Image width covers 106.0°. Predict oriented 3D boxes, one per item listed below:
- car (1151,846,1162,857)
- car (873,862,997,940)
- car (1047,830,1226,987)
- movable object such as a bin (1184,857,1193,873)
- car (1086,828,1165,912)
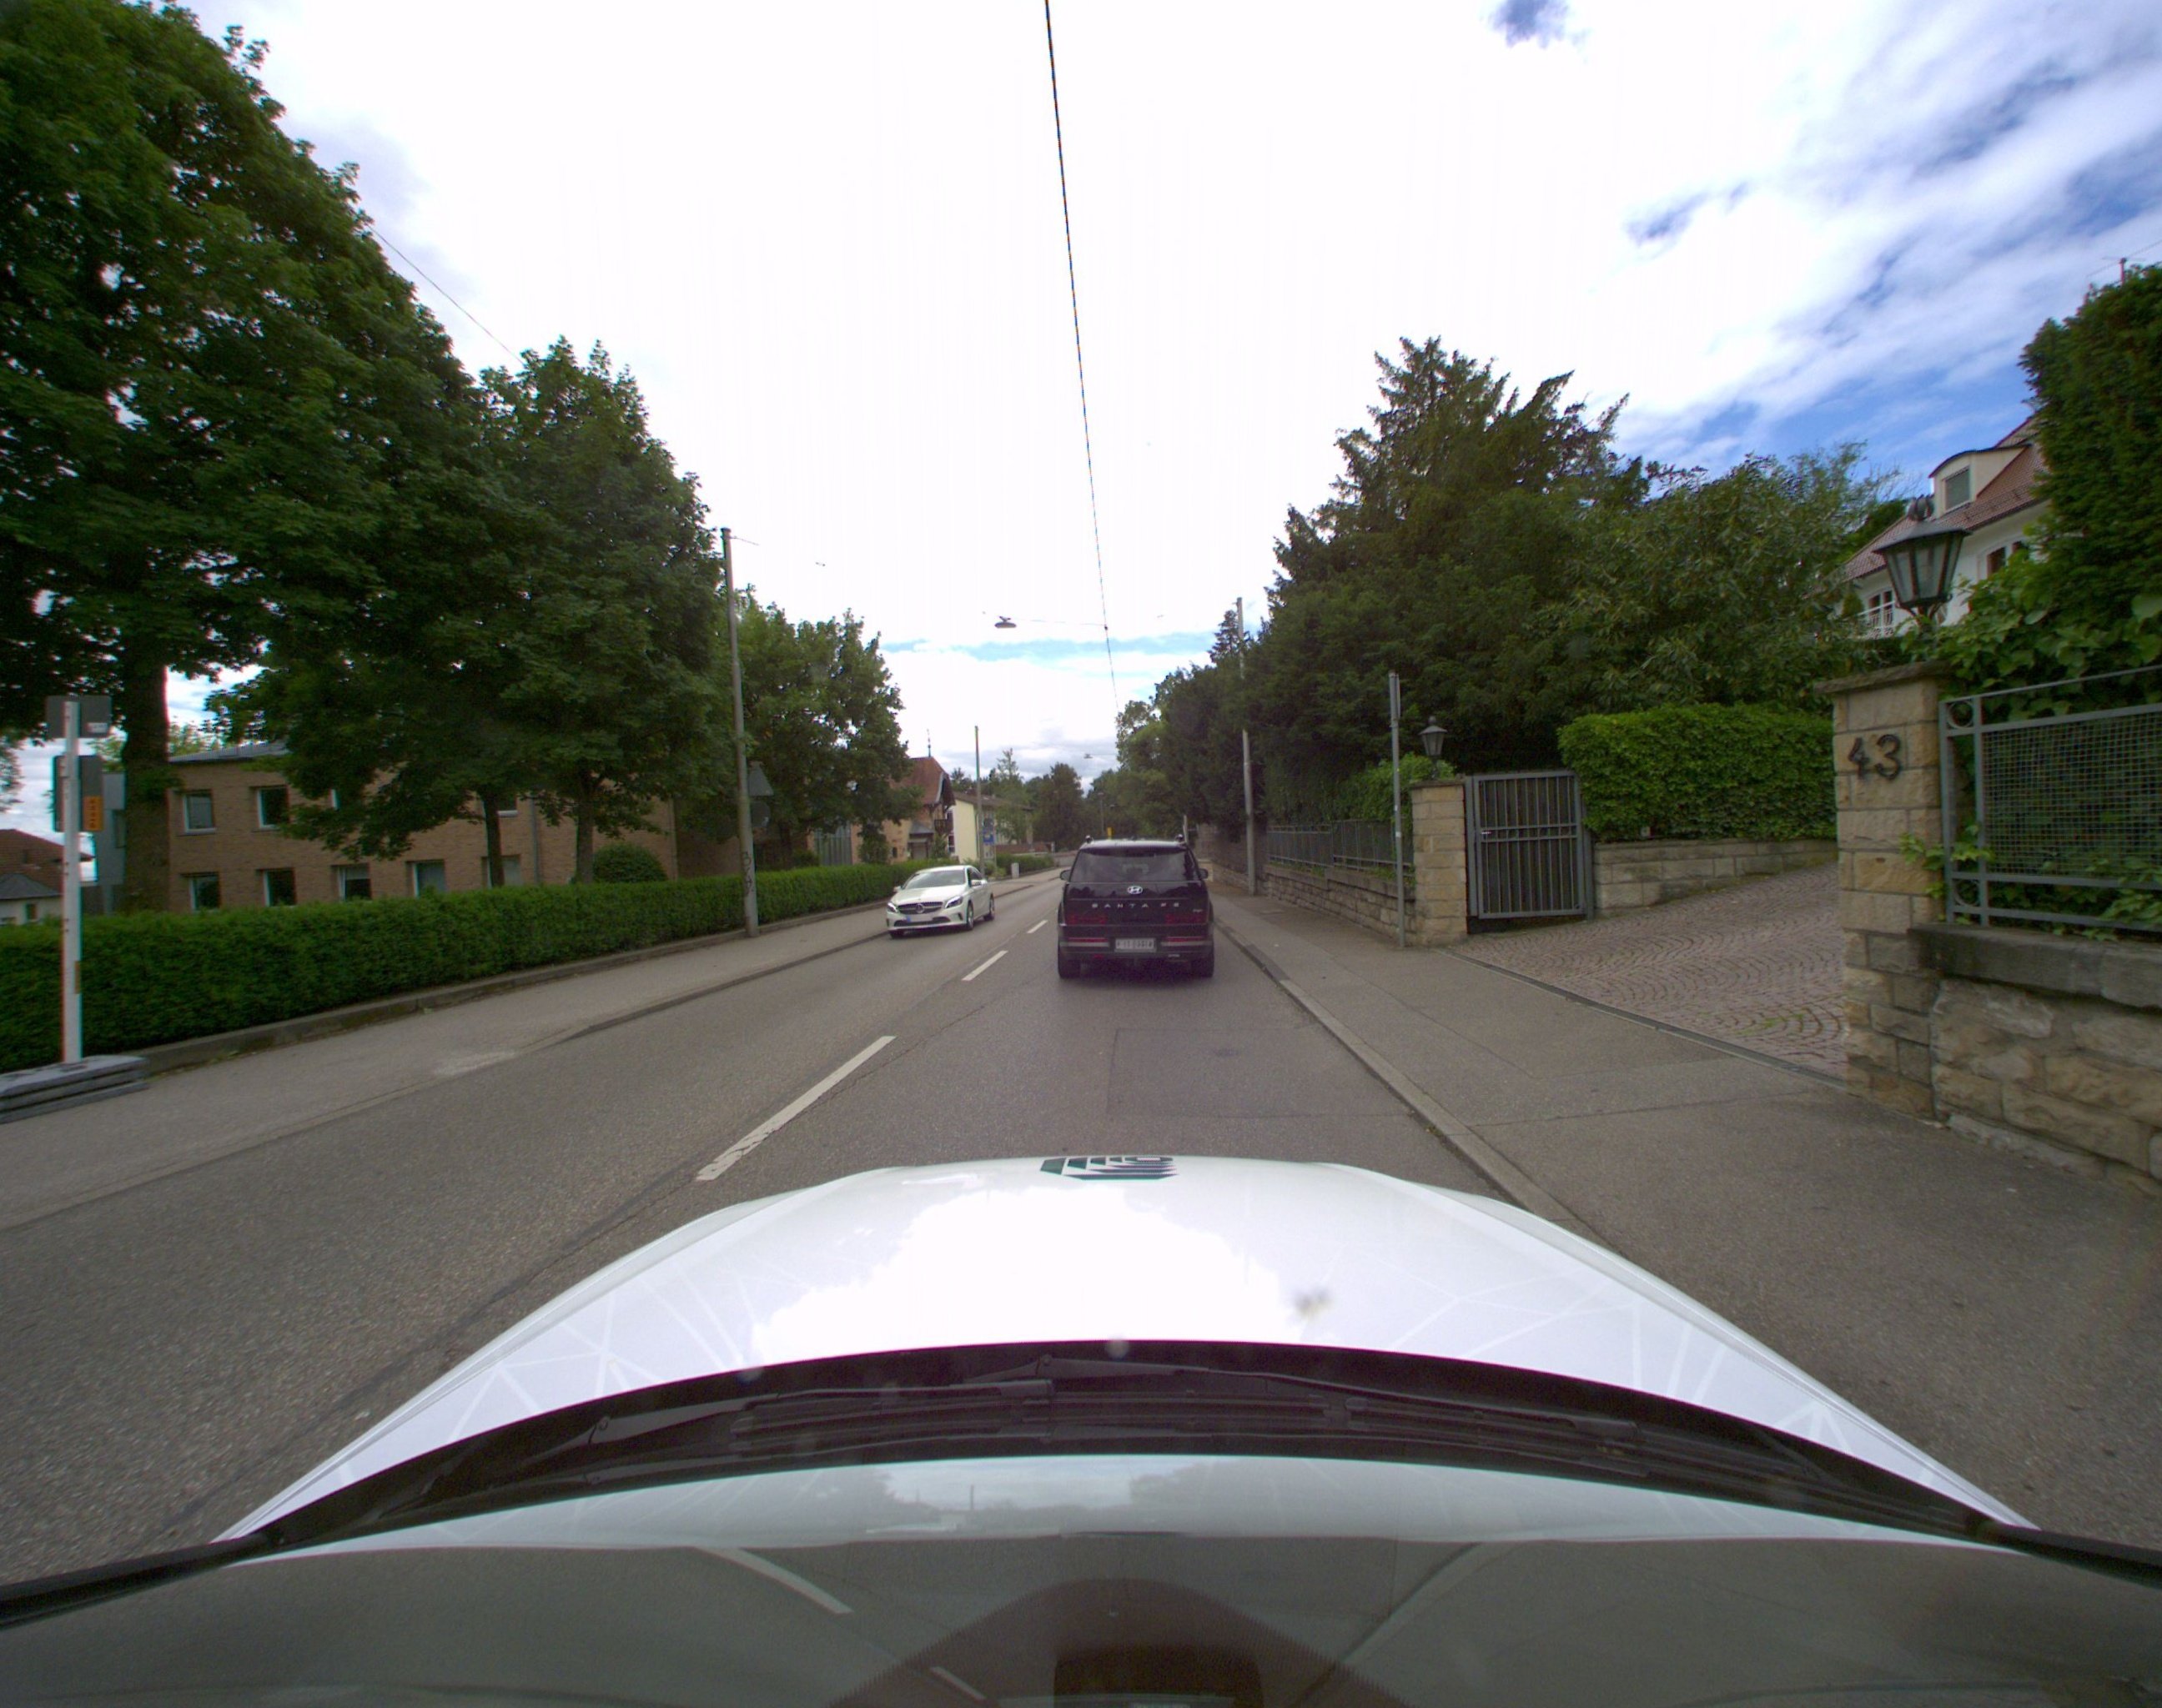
[{"bbox_3d":[11.674,-0.340,125.898,1.636,1.561,3.656,-3,-3,7],"label":"car"},{"bbox_3d":[-3.186,0.971,18.608,1.759,1.421,4.069,-5,0,3],"label":"car"},{"bbox_3d":[0.751,0.582,11.053,1.948,1.713,4.228,0,0,4],"label":"car"},{"bbox_3d":[6.287,0.628,47.590,0.442,0.910,0.395,-3,-1,13],"label":"movable object such as a bin"},{"bbox_3d":[1.153,0.347,22.551,1.950,1.955,4.225,1,4,1],"label":"car"}]
